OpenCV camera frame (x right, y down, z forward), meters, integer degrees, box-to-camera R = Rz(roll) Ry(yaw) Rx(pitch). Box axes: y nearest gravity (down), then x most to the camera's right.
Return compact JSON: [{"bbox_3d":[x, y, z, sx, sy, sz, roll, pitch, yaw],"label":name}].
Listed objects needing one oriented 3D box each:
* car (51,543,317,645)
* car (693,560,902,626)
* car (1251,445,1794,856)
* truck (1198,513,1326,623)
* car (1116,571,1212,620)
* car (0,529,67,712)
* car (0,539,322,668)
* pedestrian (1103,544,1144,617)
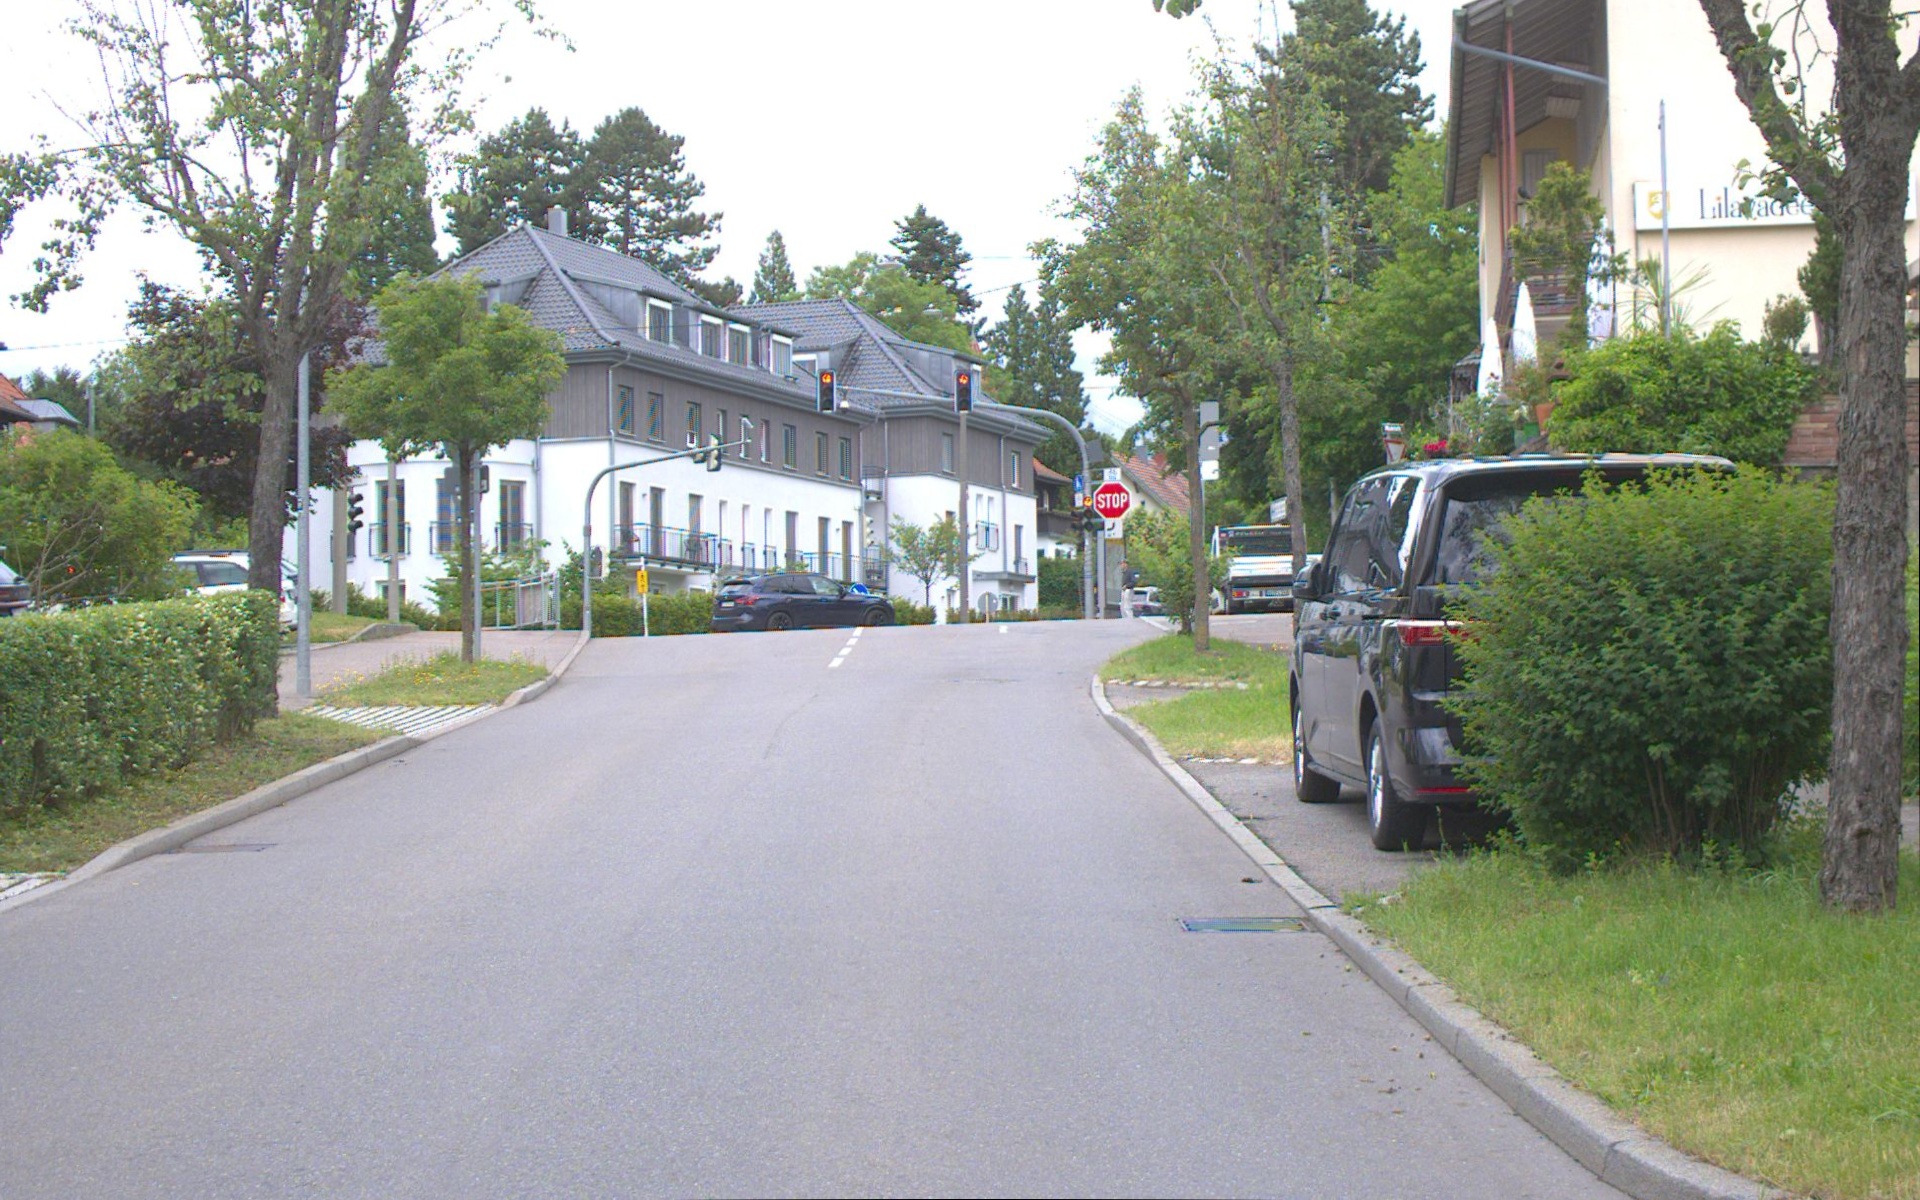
[{"bbox_3d":[-11.771,-0.104,52.327,3.759,1.459,1.732,-1,1,-7],"label":"car"},{"bbox_3d":[-3.922,-0.186,83.470,4.698,1.486,2.160,-2,1,-39],"label":"car"},{"bbox_3d":[2.771,0.185,18.193,1.936,1.831,5.219,-1,1,-1],"label":"car"},{"bbox_3d":[6.701,-0.668,76.895,2.183,2.188,5.881,-1,-2,-1],"label":"truck"},{"bbox_3d":[5.775,-0.146,97.049,1.995,1.283,3.998,1,1,14],"label":"car"},{"bbox_3d":[-10.575,0.181,31.993,3.987,1.648,2.008,0,1,0],"label":"car"},{"bbox_3d":[-11.251,0.059,48.187,4.259,1.618,2.014,-2,0,-3],"label":"car"},{"bbox_3d":[3.844,-0.460,80.735,0.685,1.676,0.699,-1,1,30],"label":"pedestrian"}]
